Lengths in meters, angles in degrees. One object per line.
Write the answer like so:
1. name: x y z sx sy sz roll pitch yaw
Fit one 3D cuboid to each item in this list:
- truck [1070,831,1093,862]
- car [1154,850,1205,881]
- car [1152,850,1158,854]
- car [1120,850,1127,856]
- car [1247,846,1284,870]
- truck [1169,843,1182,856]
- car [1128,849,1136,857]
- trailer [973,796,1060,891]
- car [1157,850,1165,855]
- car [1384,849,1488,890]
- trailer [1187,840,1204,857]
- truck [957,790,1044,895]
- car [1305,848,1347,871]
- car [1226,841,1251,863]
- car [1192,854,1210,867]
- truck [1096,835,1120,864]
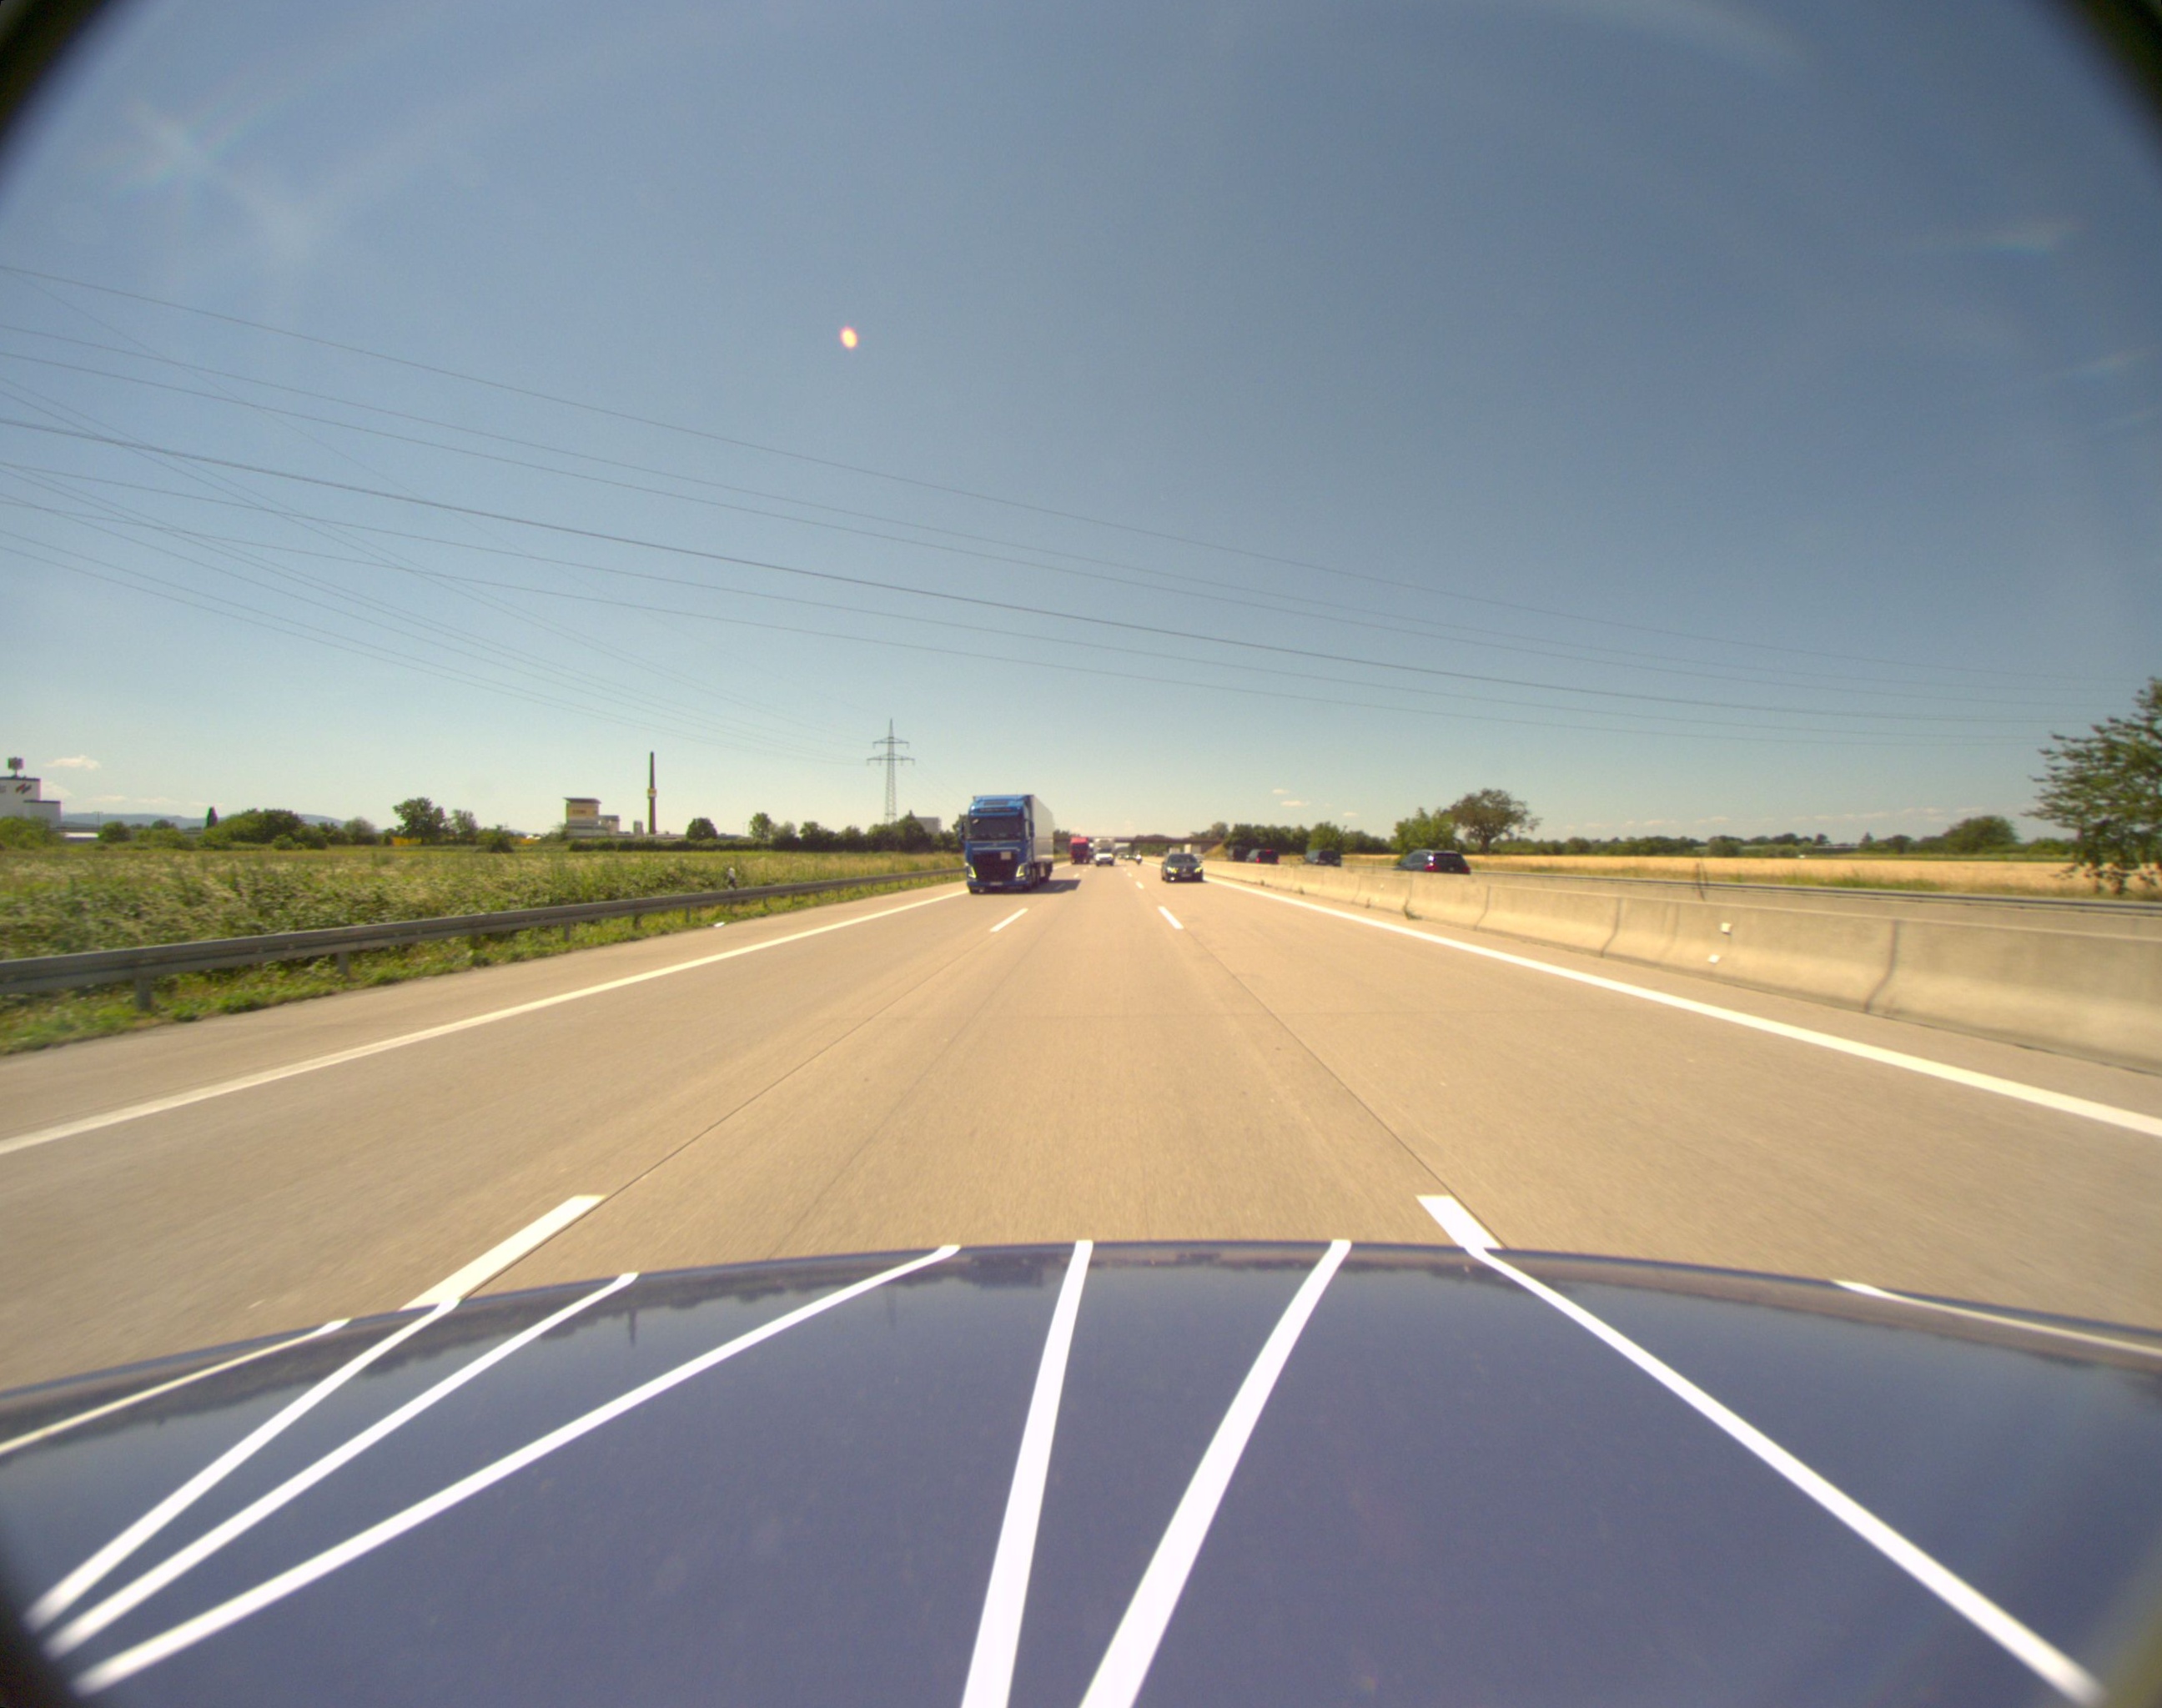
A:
1. truck: 0.123 -1.083 113.676 2.855 4.298 10.887 -2 0 3
2. car: 5.086 0.553 40.090 1.998 1.462 6.348 1 0 1
3. car: 21.632 -0.475 222.700 1.546 1.156 3.376 -2 0 2
4. car: 10.794 -0.290 190.818 1.683 1.444 3.564 -2 0 3
5. car: 15.396 0.298 63.620 1.998 1.815 5.826 -2 0 3
6. truck: 24.134 -1.073 194.072 2.553 3.124 7.923 -1 0 2
7. car: 10.084 -0.256 149.671 1.557 1.440 3.777 -2 0 4
8. trailer: -2.967 -0.482 39.254 2.715 4.020 12.903 -2 0 3
9. car: 20.911 -0.344 198.508 1.850 1.343 4.494 0 0 3
10. car: 13.725 0.550 29.725 1.998 1.440 4.682 -2 0 2
11. trailer: 28.435 -1.443 188.732 2.826 4.021 12.679 -2 0 3
12. truck: -3.281 -0.451 32.290 2.757 4.020 5.466 -2 1 2
13. car: 19.566 0.411 60.854 2.175 1.779 4.001 -2 0 3
14. car: 20.888 -0.254 100.857 2.253 2.770 6.793 -2 0 3
15. car: 16.438 0.859 104.403 1.877 1.643 5.108 -2 0 2
16. truck: 3.350 -0.560 93.009 2.783 3.328 7.814 -2 0 3
